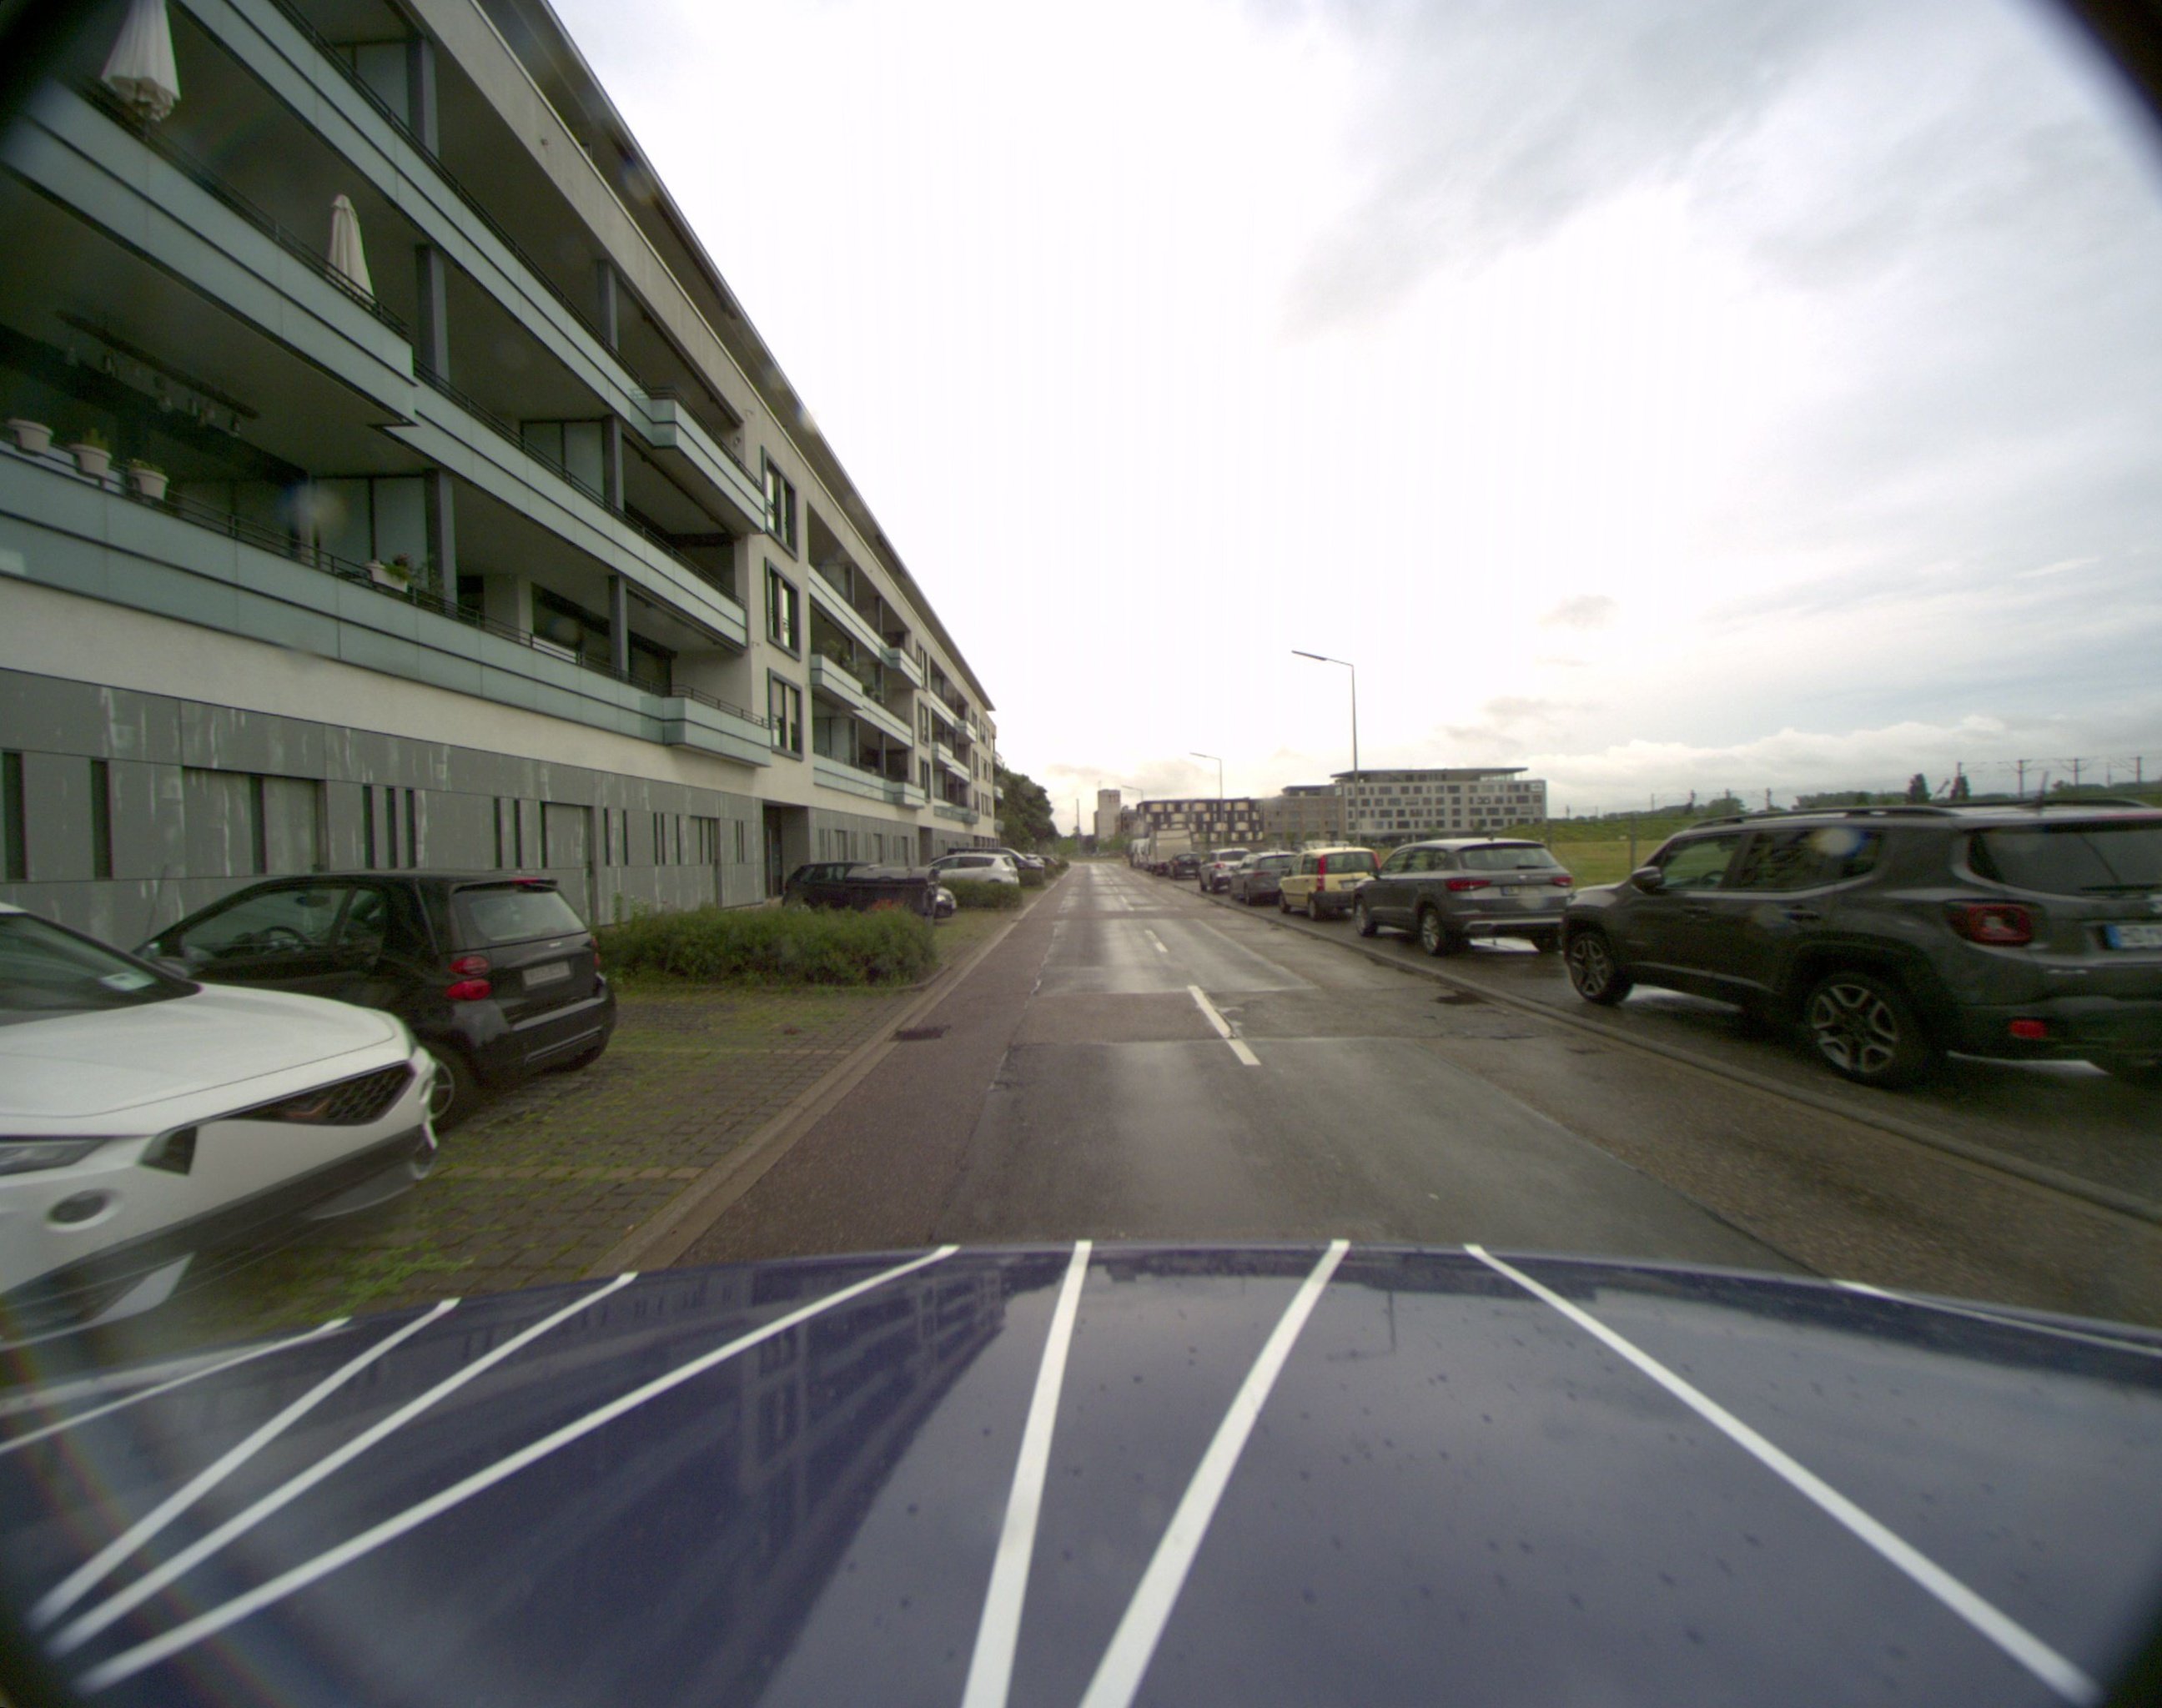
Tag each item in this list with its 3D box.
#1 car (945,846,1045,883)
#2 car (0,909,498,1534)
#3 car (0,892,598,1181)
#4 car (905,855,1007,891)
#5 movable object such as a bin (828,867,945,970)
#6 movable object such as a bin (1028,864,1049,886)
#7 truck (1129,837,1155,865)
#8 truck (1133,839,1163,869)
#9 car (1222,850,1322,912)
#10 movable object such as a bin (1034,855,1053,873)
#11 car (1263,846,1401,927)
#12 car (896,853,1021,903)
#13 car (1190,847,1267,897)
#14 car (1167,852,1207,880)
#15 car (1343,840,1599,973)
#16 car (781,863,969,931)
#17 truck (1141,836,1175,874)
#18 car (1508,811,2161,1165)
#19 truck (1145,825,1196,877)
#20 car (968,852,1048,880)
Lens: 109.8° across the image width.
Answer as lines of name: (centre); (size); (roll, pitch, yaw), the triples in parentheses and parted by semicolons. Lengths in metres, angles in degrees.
car: (-4.474, 0.549, 40.159); (5.062, 1.917, 1.982); (0, 1, 0)
car: (-5.039, 1.034, 2.768); (4.357, 1.521, 1.893); (0, 1, 0)
car: (-4.784, 1.026, 4.817); (2.631, 1.498, 1.207); (0, 0, -5)
car: (-5.326, 0.802, 32.784); (4.187, 1.474, 1.749); (0, 1, -3)
movable object such as a bin: (-3.002, 0.973, 11.882); (1.499, 1.484, 1.155); (1, 1, 1)
movable object such as a bin: (-2.067, 1.029, 36.726); (0.815, 1.040, 0.541); (-1, 1, 39)
truck: (6.232, -0.301, 77.668); (2.180, 2.730, 5.290); (-2, 0, 1)
truck: (6.144, -0.037, 70.403); (2.180, 2.591, 6.131); (-2, 0, 1)
car: (5.593, 0.724, 22.885); (1.842, 1.520, 4.670); (-4, 1, 1)
movable object such as a bin: (-2.877, 0.758, 58.572); (1.352, 1.330, 0.976); (-3, 1, 0)
car: (5.624, 0.641, 17.593); (1.730, 1.566, 4.209); (-2, 1, -1)
car: (-4.340, 0.822, 27.374); (4.218, 1.634, 1.686); (-1, 1, 0)
car: (5.594, 0.626, 29.386); (1.857, 1.598, 4.988); (-5, 0, 0)
car: (5.884, 0.623, 42.577); (1.676, 1.454, 4.156); (-2, 0, 1)
car: (5.558, 0.653, 11.500); (1.757, 1.581, 4.133); (-2, 0, 1)
car: (-4.692, 0.963, 17.681); (3.855, 1.482, 1.763); (0, 0, 2)
truck: (6.120, 0.045, 61.112); (2.046, 2.750, 6.737); (-3, 0, 2)
car: (5.553, 0.624, 6.055); (1.756, 1.683, 4.882); (-2, 0, 4)
truck: (5.846, -0.204, 50.355); (2.442, 3.050, 6.699); (-3, 0, 0)
car: (-4.290, 0.688, 45.321); (4.428, 1.592, 2.083); (0, 1, 5)
